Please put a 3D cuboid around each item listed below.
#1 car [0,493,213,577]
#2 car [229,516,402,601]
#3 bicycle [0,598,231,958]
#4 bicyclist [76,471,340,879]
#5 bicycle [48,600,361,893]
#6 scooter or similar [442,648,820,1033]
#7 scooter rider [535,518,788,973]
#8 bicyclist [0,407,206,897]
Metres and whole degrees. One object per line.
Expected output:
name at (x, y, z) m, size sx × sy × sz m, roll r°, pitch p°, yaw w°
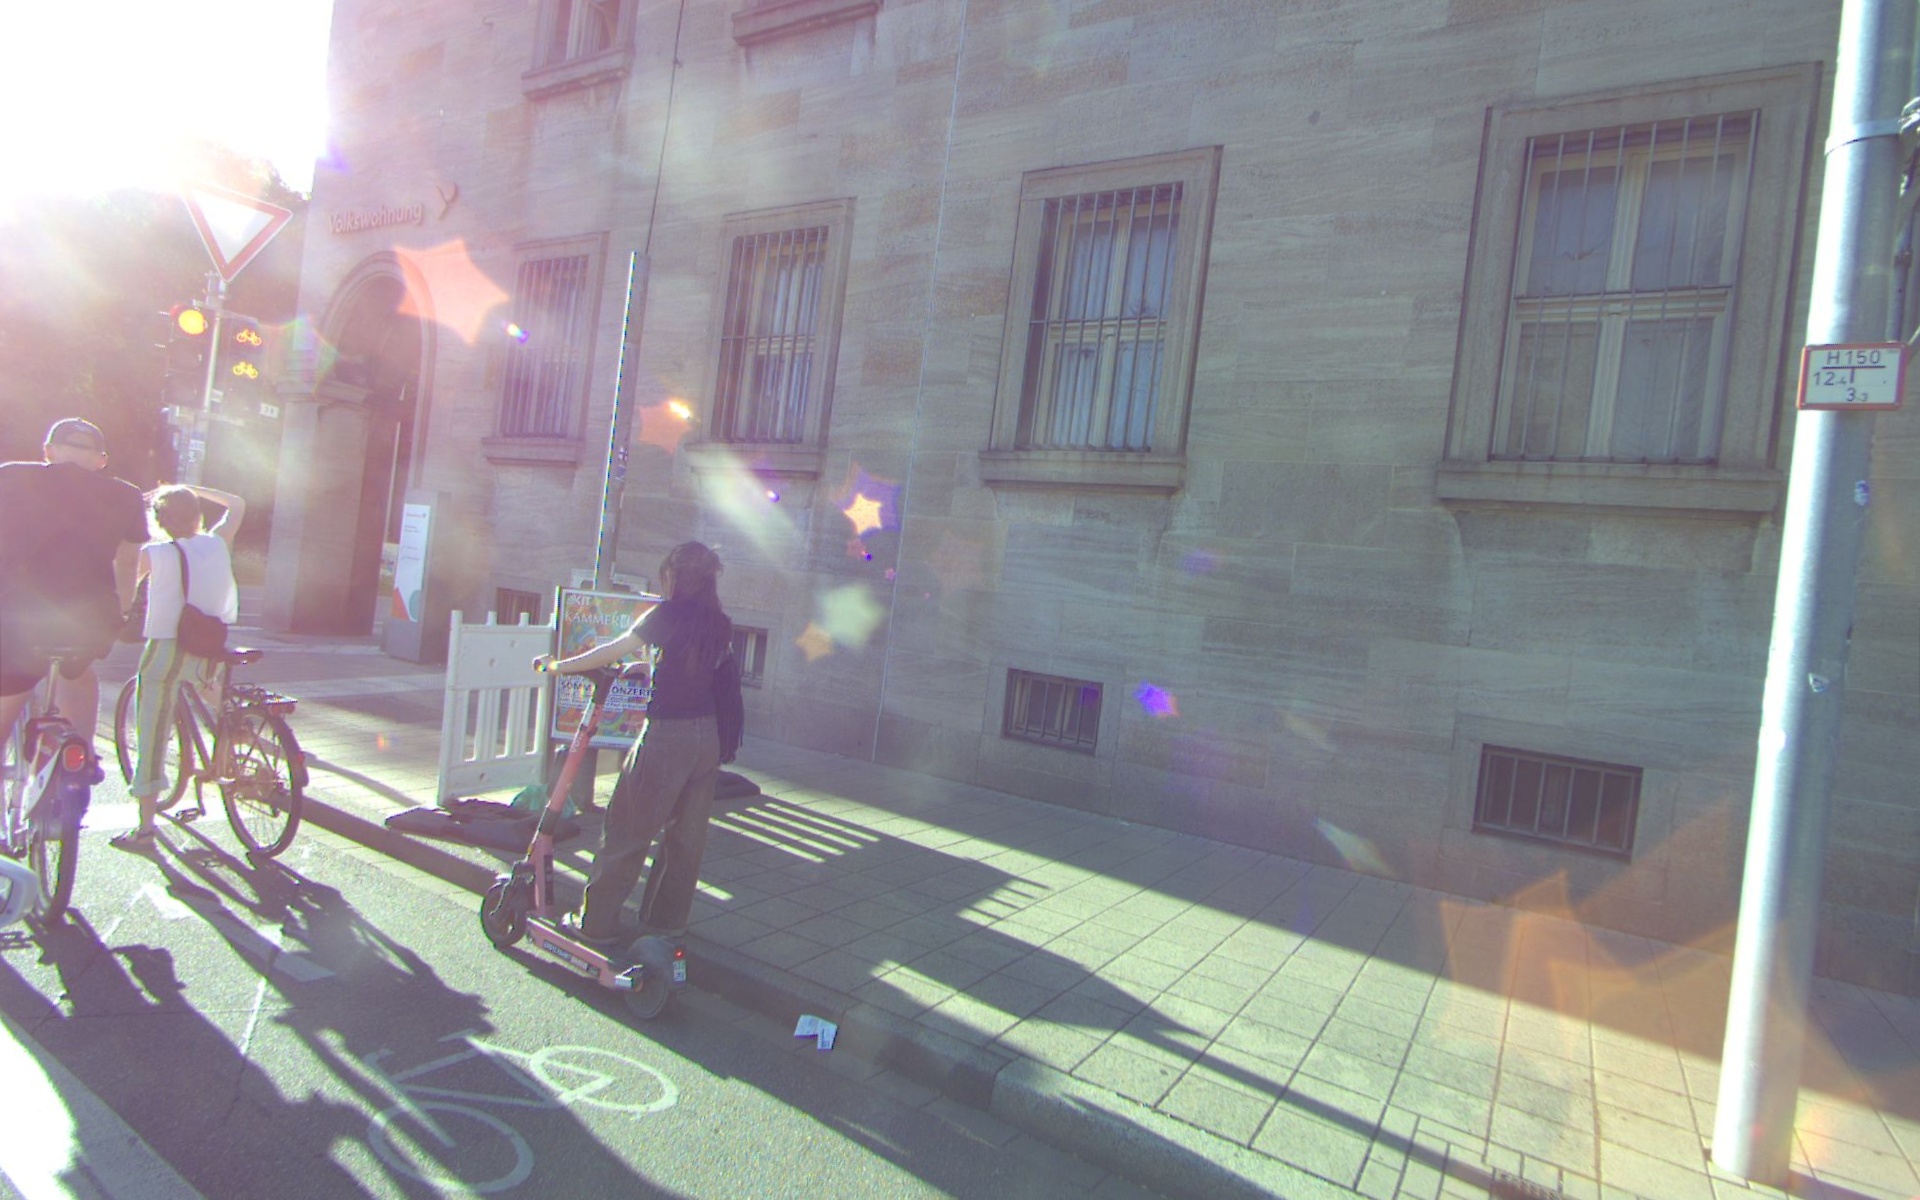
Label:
car at (-23.472, -1.745, 27.346) m, size 1.967 × 1.533 × 4.586 m, roll 6°, pitch -2°, yaw 32°
car at (-20.272, -1.256, 31.802) m, size 1.968 × 2.037 × 3.994 m, roll 6°, pitch -2°, yaw 33°
bicycle at (-3.714, 0.593, 3.987) m, size 1.717 × 1.057 × 0.624 m, roll 7°, pitch 0°, yaw 31°
bicyclist at (-3.635, 0.318, 4.863) m, size 0.934 × 1.760 × 0.584 m, roll 7°, pitch 0°, yaw 32°
bicycle at (-3.703, 0.631, 4.884) m, size 1.718 × 1.057 × 0.582 m, roll 7°, pitch 0°, yaw 33°
scooter or similar at (-1.288, 0.848, 3.934) m, size 1.249 × 1.163 × 0.574 m, roll 6°, pitch -1°, yaw 26°
scooter rider at (-1.141, 0.527, 3.920) m, size 0.566 × 1.581 × 0.546 m, roll 7°, pitch 0°, yaw 19°
bicyclist at (-3.655, 0.172, 3.984) m, size 0.897 × 1.736 × 0.624 m, roll 7°, pitch 0°, yaw 30°
